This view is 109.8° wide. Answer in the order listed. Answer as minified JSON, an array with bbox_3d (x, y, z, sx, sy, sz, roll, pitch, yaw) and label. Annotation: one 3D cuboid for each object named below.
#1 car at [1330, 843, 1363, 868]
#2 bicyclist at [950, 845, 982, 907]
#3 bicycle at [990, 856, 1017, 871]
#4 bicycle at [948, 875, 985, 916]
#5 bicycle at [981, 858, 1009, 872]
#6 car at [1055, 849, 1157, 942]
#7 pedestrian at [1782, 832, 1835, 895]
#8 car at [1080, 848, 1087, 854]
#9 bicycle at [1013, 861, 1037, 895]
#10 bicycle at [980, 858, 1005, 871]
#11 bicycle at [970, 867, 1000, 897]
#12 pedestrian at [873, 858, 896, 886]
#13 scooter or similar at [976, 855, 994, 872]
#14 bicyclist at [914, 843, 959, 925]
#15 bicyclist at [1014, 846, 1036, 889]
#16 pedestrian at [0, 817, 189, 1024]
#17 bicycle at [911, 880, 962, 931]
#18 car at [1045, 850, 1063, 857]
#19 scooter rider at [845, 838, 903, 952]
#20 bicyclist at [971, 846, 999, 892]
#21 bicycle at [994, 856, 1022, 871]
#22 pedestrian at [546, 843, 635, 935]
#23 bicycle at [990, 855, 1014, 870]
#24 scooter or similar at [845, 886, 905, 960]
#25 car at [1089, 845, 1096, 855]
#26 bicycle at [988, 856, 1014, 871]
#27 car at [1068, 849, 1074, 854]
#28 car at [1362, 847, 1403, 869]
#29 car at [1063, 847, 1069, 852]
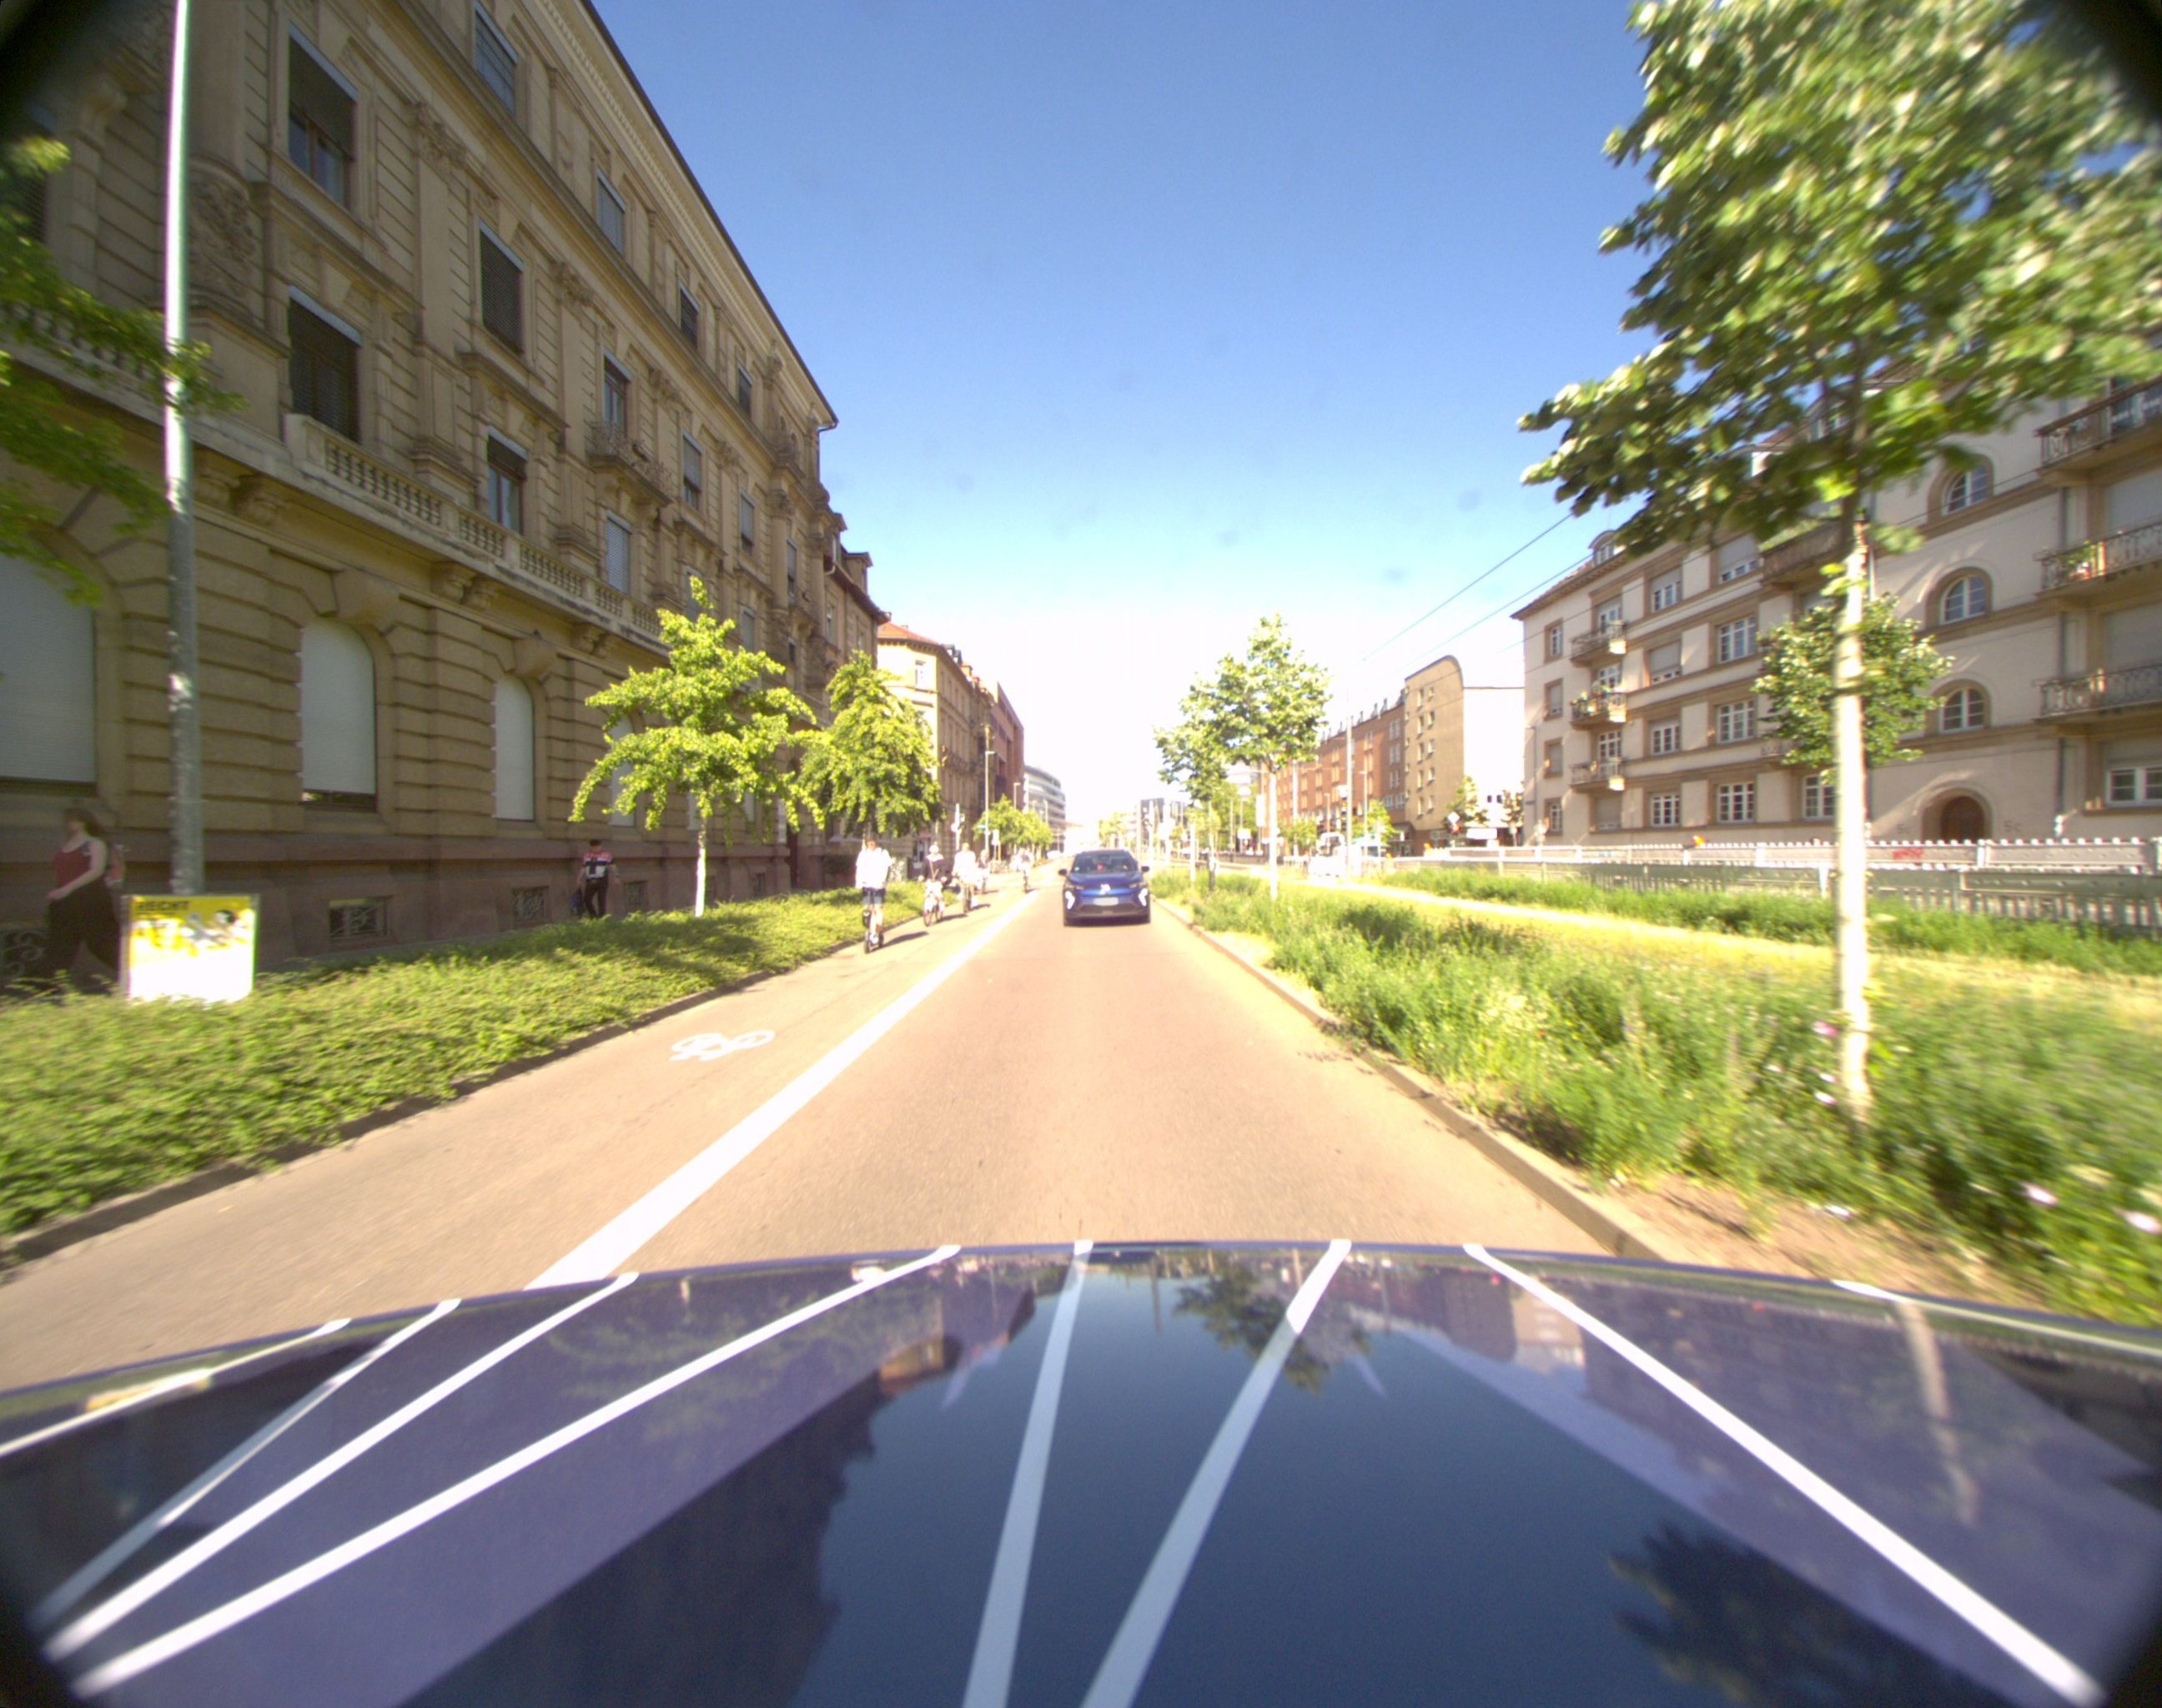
[{"bbox_3d":[25.453,0.097,72.929,1.997,2.284,5.191,-1,1,8],"label":"car"},{"bbox_3d":[-3.141,0.585,20.806,0.700,1.647,0.977,-2,1,-2],"label":"bicyclist"},{"bbox_3d":[-5.747,0.712,56.385,1.876,1.043,0.608,2,1,-4],"label":"bicycle"},{"bbox_3d":[-3.130,1.117,20.918,0.725,1.000,1.952,-2,1,-1],"label":"bicycle"},{"bbox_3d":[-6.131,0.791,54.173,1.905,0.906,0.592,2,2,9],"label":"bicycle"},{"bbox_3d":[0.466,0.738,15.895,1.758,1.576,4.420,-3,0,0],"label":"car"},{"bbox_3d":[21.977,0.261,22.981,0.768,1.852,0.871,-2,2,0],"label":"pedestrian"},{"bbox_3d":[0.684,-0.801,213.675,1.745,1.543,4.000,0,1,0],"label":"car"},{"bbox_3d":[-2.115,0.885,28.977,0.725,1.187,1.952,-2,1,0],"label":"bicycle"},{"bbox_3d":[-6.383,0.746,54.804,1.717,0.920,0.497,0,2,0],"label":"bicycle"},{"bbox_3d":[-3.637,1.050,28.940,0.830,1.000,1.952,-2,1,0],"label":"bicycle"},{"bbox_3d":[-8.488,0.768,32.836,0.719,1.176,0.881,0,2,0],"label":"pedestrian"},{"bbox_3d":[-6.640,0.657,52.654,1.199,1.191,0.487,0,1,-4],"label":"scooter or similar"},{"bbox_3d":[-3.308,0.664,17.491,0.725,1.807,1.091,-2,1,2],"label":"bicyclist"},{"bbox_3d":[-2.128,0.497,28.970,0.725,1.595,0.895,-2,1,0],"label":"bicyclist"},{"bbox_3d":[-10.025,0.606,7.608,0.891,1.909,1.098,1,1,6],"label":"pedestrian"},{"bbox_3d":[-3.293,1.161,17.501,0.725,1.000,1.952,-2,1,2],"label":"bicycle"},{"bbox_3d":[-6.748,-0.125,188.066,4.416,1.547,1.759,-1,1,1],"label":"car"},{"bbox_3d":[-3.519,0.672,12.958,0.662,1.856,0.898,-2,1,2],"label":"scooter rider"},{"bbox_3d":[-3.650,0.556,28.938,0.854,1.717,0.988,-2,1,0],"label":"bicyclist"},{"bbox_3d":[-5.812,0.738,60.447,2.062,1.036,0.847,2,1,-1],"label":"bicycle"},{"bbox_3d":[-9.444,0.643,14.667,0.972,1.682,1.114,1,1,2],"label":"pedestrian"},{"bbox_3d":[-6.134,0.680,59.043,1.678,1.056,1.134,3,1,-1],"label":"bicycle"},{"bbox_3d":[-3.506,1.155,13.014,0.647,1.151,1.150,-2,1,1],"label":"scooter or similar"},{"bbox_3d":[2.930,-1.123,199.833,1.758,2.472,4.609,-1,1,1],"label":"car"},{"bbox_3d":[-6.089,0.715,57.897,1.903,1.024,1.030,2,1,-3],"label":"bicycle"},{"bbox_3d":[-2.802,-0.729,215.366,1.745,1.543,4.000,0,1,0],"label":"car"},{"bbox_3d":[24.391,0.320,61.578,1.699,1.630,3.998,-2,1,-1],"label":"car"},{"bbox_3d":[-4.518,-1.286,231.350,1.745,1.543,4.000,0,1,0],"label":"car"}]
